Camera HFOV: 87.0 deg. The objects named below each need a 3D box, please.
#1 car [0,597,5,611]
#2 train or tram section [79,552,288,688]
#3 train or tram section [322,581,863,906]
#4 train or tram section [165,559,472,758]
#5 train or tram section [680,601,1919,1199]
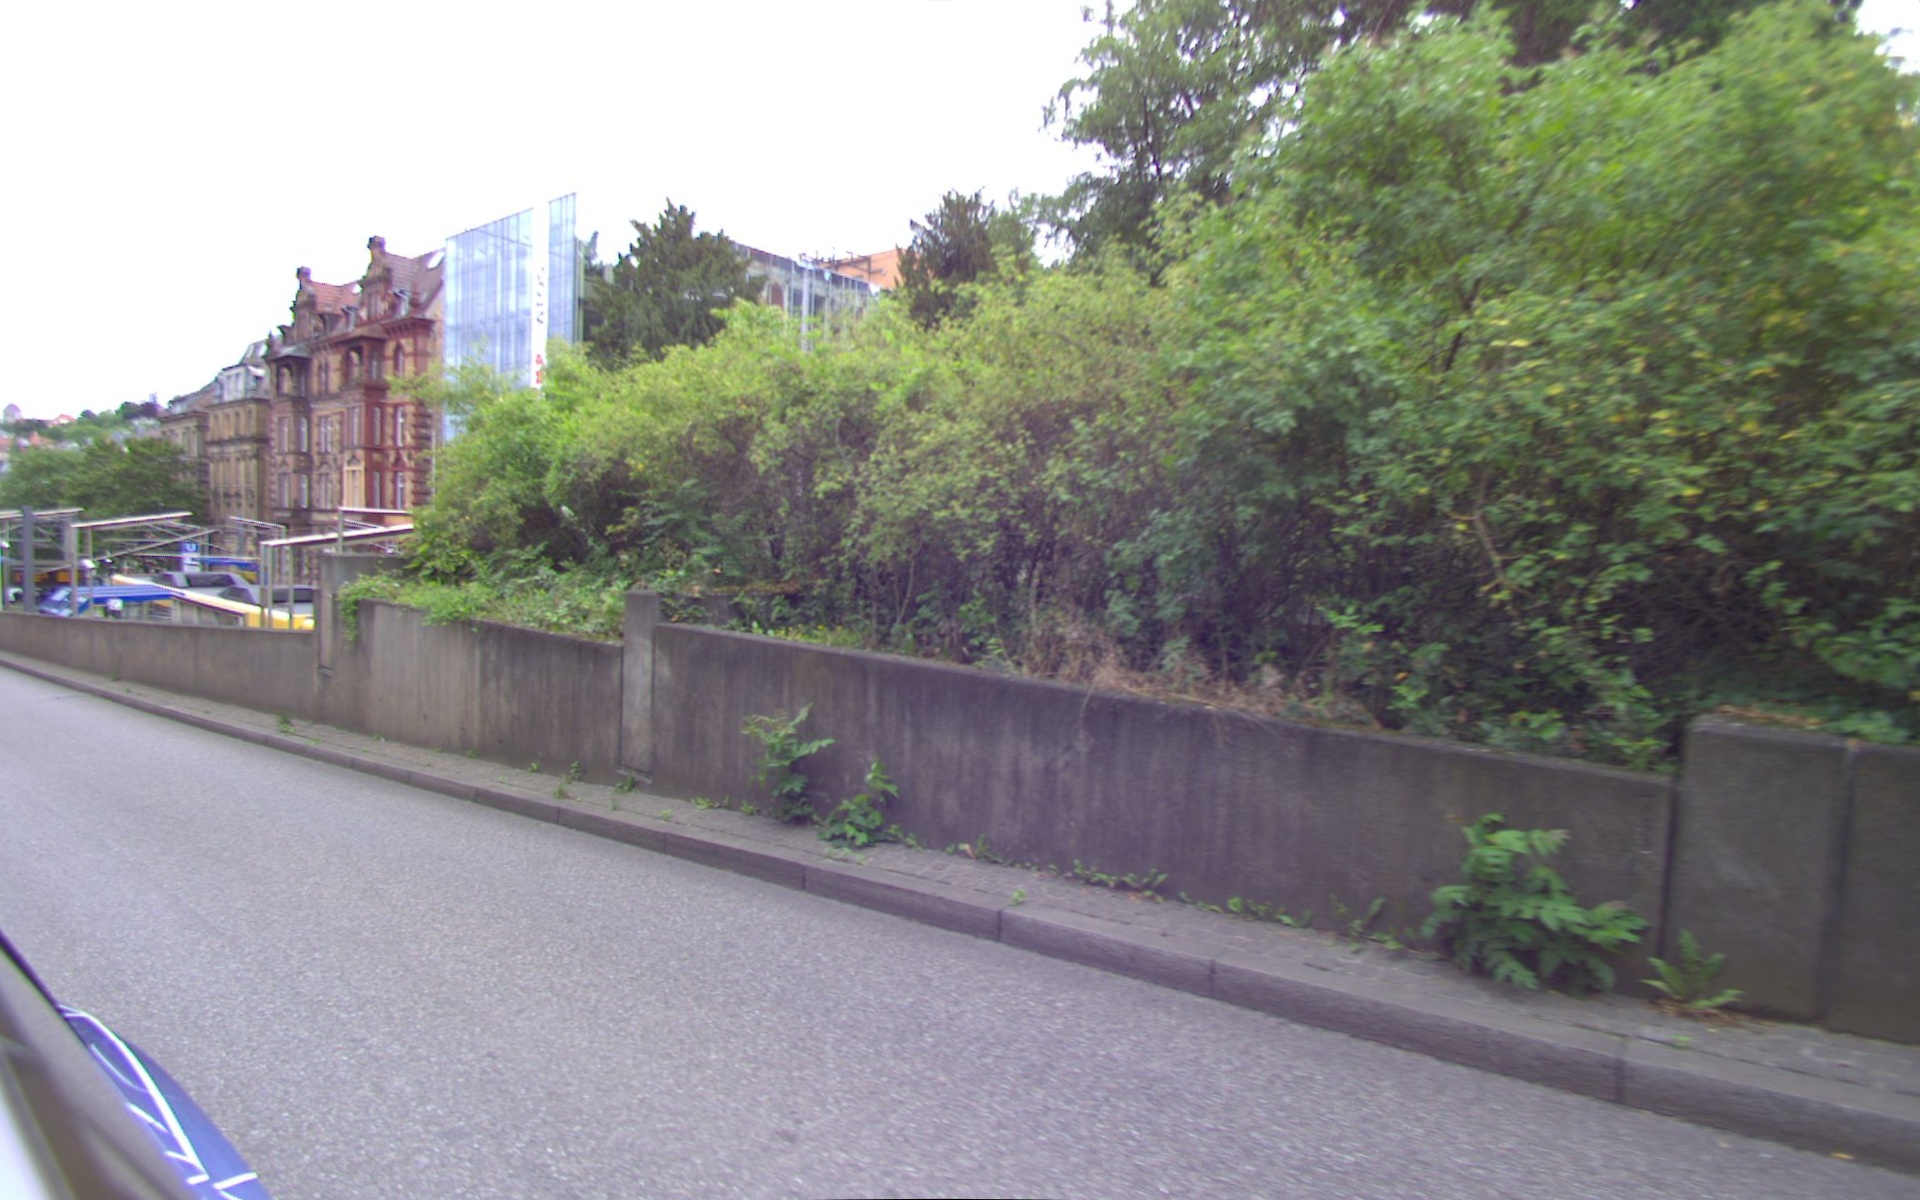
[{"bbox_3d":[-128.552,0.501,133.133,1.774,1.827,3.826,0,1,25],"label":"car"},{"bbox_3d":[-25.514,0.339,32.869,12.392,3.569,2.919,3,3,41],"label":"train or tram section"},{"bbox_3d":[-6.954,1.612,17.020,12.212,3.509,2.919,3,2,41],"label":"train or tram section"},{"bbox_3d":[-16.210,0.978,24.869,12.213,3.497,2.919,4,3,41],"label":"train or tram section"},{"bbox_3d":[2.559,1.967,8.900,12.979,3.535,2.919,2,2,41],"label":"train or tram section"}]
